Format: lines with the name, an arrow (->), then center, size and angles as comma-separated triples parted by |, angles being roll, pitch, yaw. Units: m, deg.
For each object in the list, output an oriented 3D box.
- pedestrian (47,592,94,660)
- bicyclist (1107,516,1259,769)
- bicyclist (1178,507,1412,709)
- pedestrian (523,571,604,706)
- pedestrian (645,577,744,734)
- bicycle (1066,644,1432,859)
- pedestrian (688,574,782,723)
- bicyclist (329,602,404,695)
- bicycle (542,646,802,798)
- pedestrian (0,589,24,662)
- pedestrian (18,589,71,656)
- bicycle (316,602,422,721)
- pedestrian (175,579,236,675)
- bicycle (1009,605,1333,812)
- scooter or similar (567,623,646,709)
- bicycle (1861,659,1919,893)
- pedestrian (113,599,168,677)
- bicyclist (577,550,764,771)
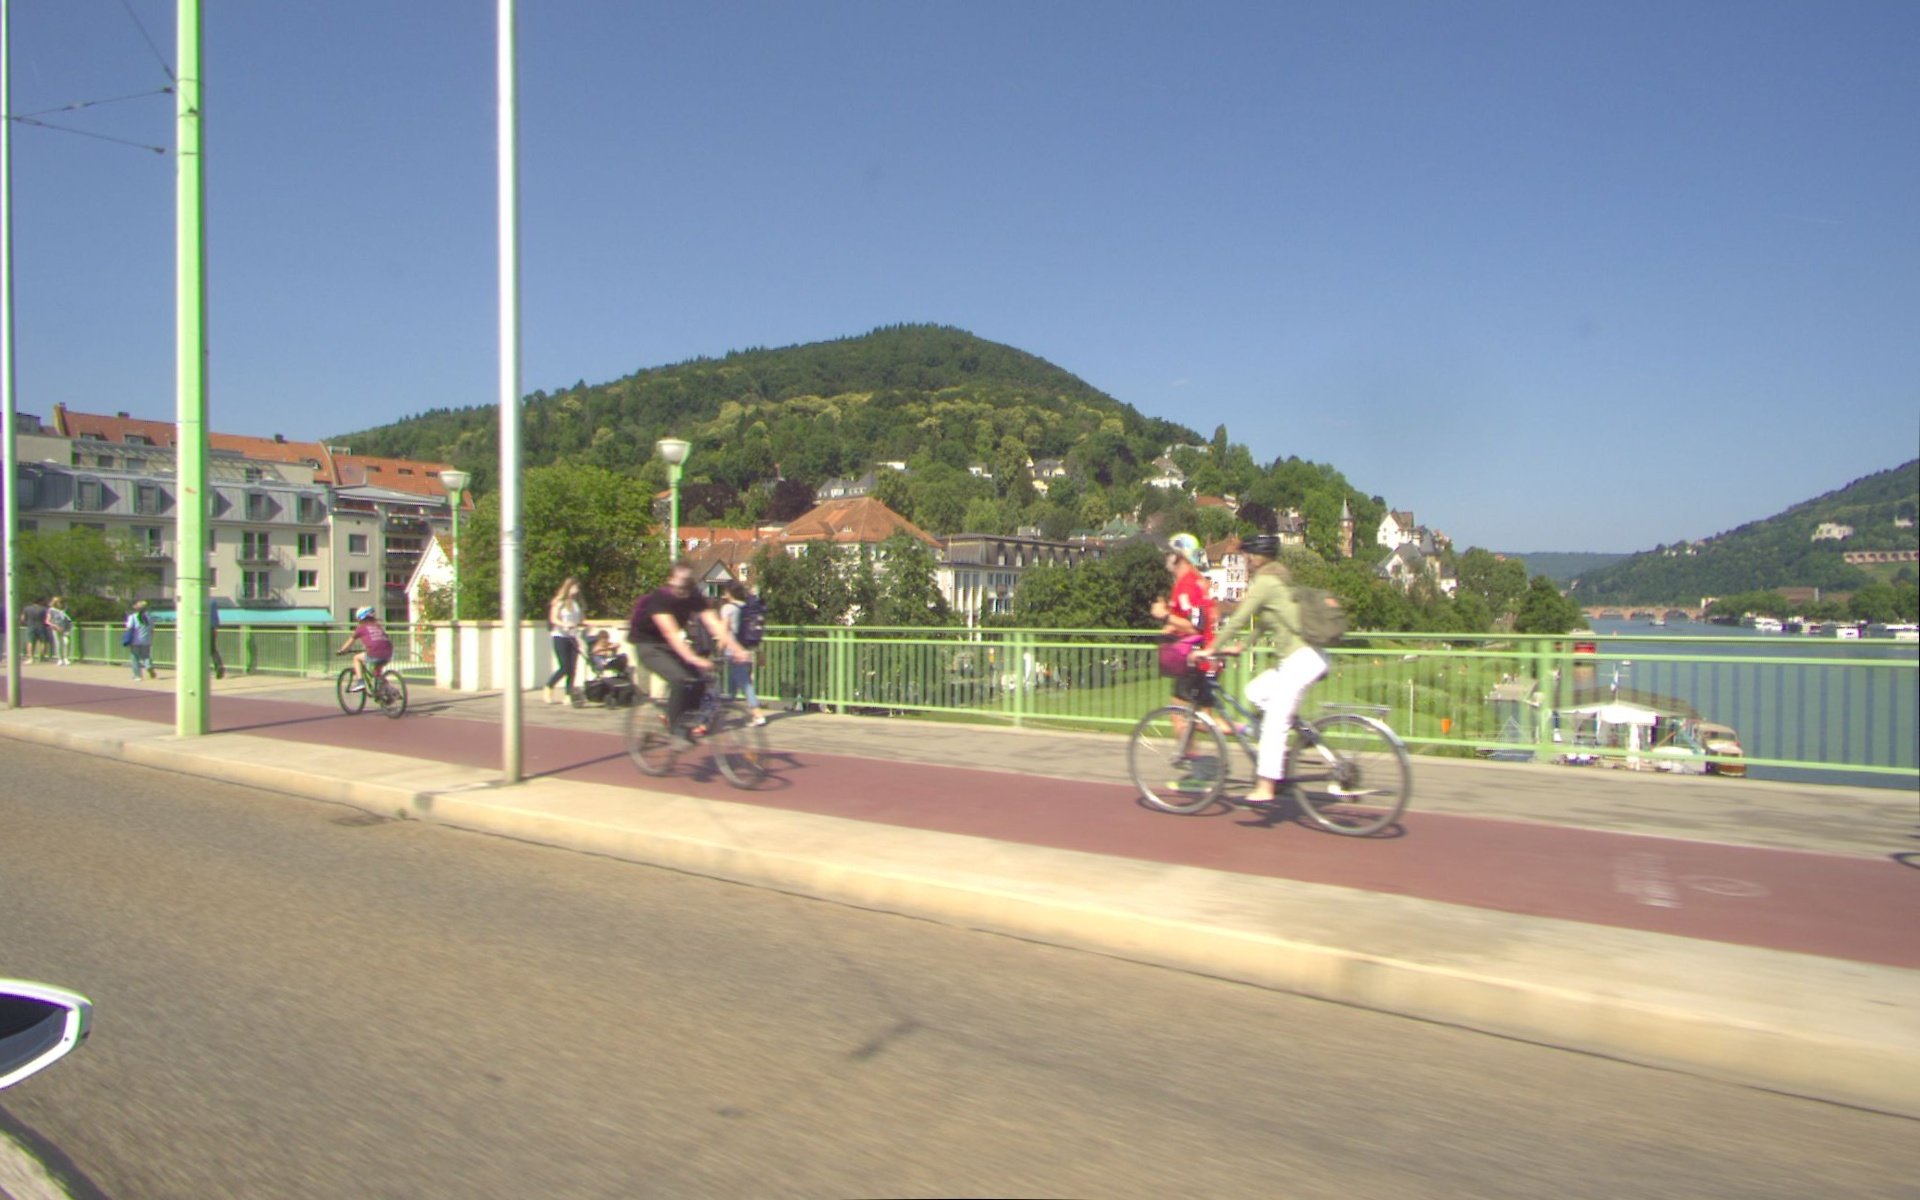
pedestrian -> -22.376, 0.650, 25.195 | 0.836, 1.673, 0.711 | 1, 1, 34
bicyclist -> 1.588, 0.282, 7.097 | 0.854, 1.657, 0.734 | 1, 1, 31
bicyclist -> 1.944, 0.043, 5.807 | 1.158, 1.044, 0.734 | 1, 0, 31
pedestrian -> -5.440, 0.508, 13.743 | 0.854, 1.780, 0.641 | 1, 1, 31
pedestrian -> -2.841, 0.572, 10.712 | 0.854, 1.607, 0.598 | 1, 1, 31
bicycle -> 1.695, 0.829, 6.036 | 2.020, 1.051, 0.617 | 1, 0, 31
pedestrian -> -2.526, 0.525, 11.237 | 0.854, 1.607, 0.598 | 1, 1, 31
bicyclist -> -7.422, 0.582, 12.522 | 0.842, 1.116, 0.596 | 1, 1, 42
bicycle -> -2.288, 0.893, 7.833 | 2.146, 0.995, 0.652 | -1, 1, 31
pedestrian -> -23.776, 0.615, 24.619 | 0.924, 1.784, 0.928 | 1, 1, 32
pedestrian -> -24.142, 0.586, 26.409 | 0.856, 1.712, 0.832 | 1, 1, 32
bicycle -> -7.463, 0.720, 12.595 | 2.191, 1.385, 0.531 | 1, 0, 43
pedestrian -> -14.766, 0.515, 19.604 | 0.835, 1.835, 0.711 | 1, 1, 32
bicycle -> 1.459, 0.692, 7.164 | 2.183, 1.288, 0.617 | 1, 0, 31
scooter or similar -> -4.695, 0.856, 13.300 | 0.852, 1.083, 0.587 | 1, 0, 31
bicycle -> 5.466, 0.831, 4.329 | 2.233, 1.051, 0.617 | 0, 0, 31
pedestrian -> -15.997, 0.720, 19.548 | 0.836, 1.485, 0.612 | 1, 1, 32
bicyclist -> -2.258, 0.434, 7.798 | 1.318, 1.588, 0.652 | 0, 2, 31
